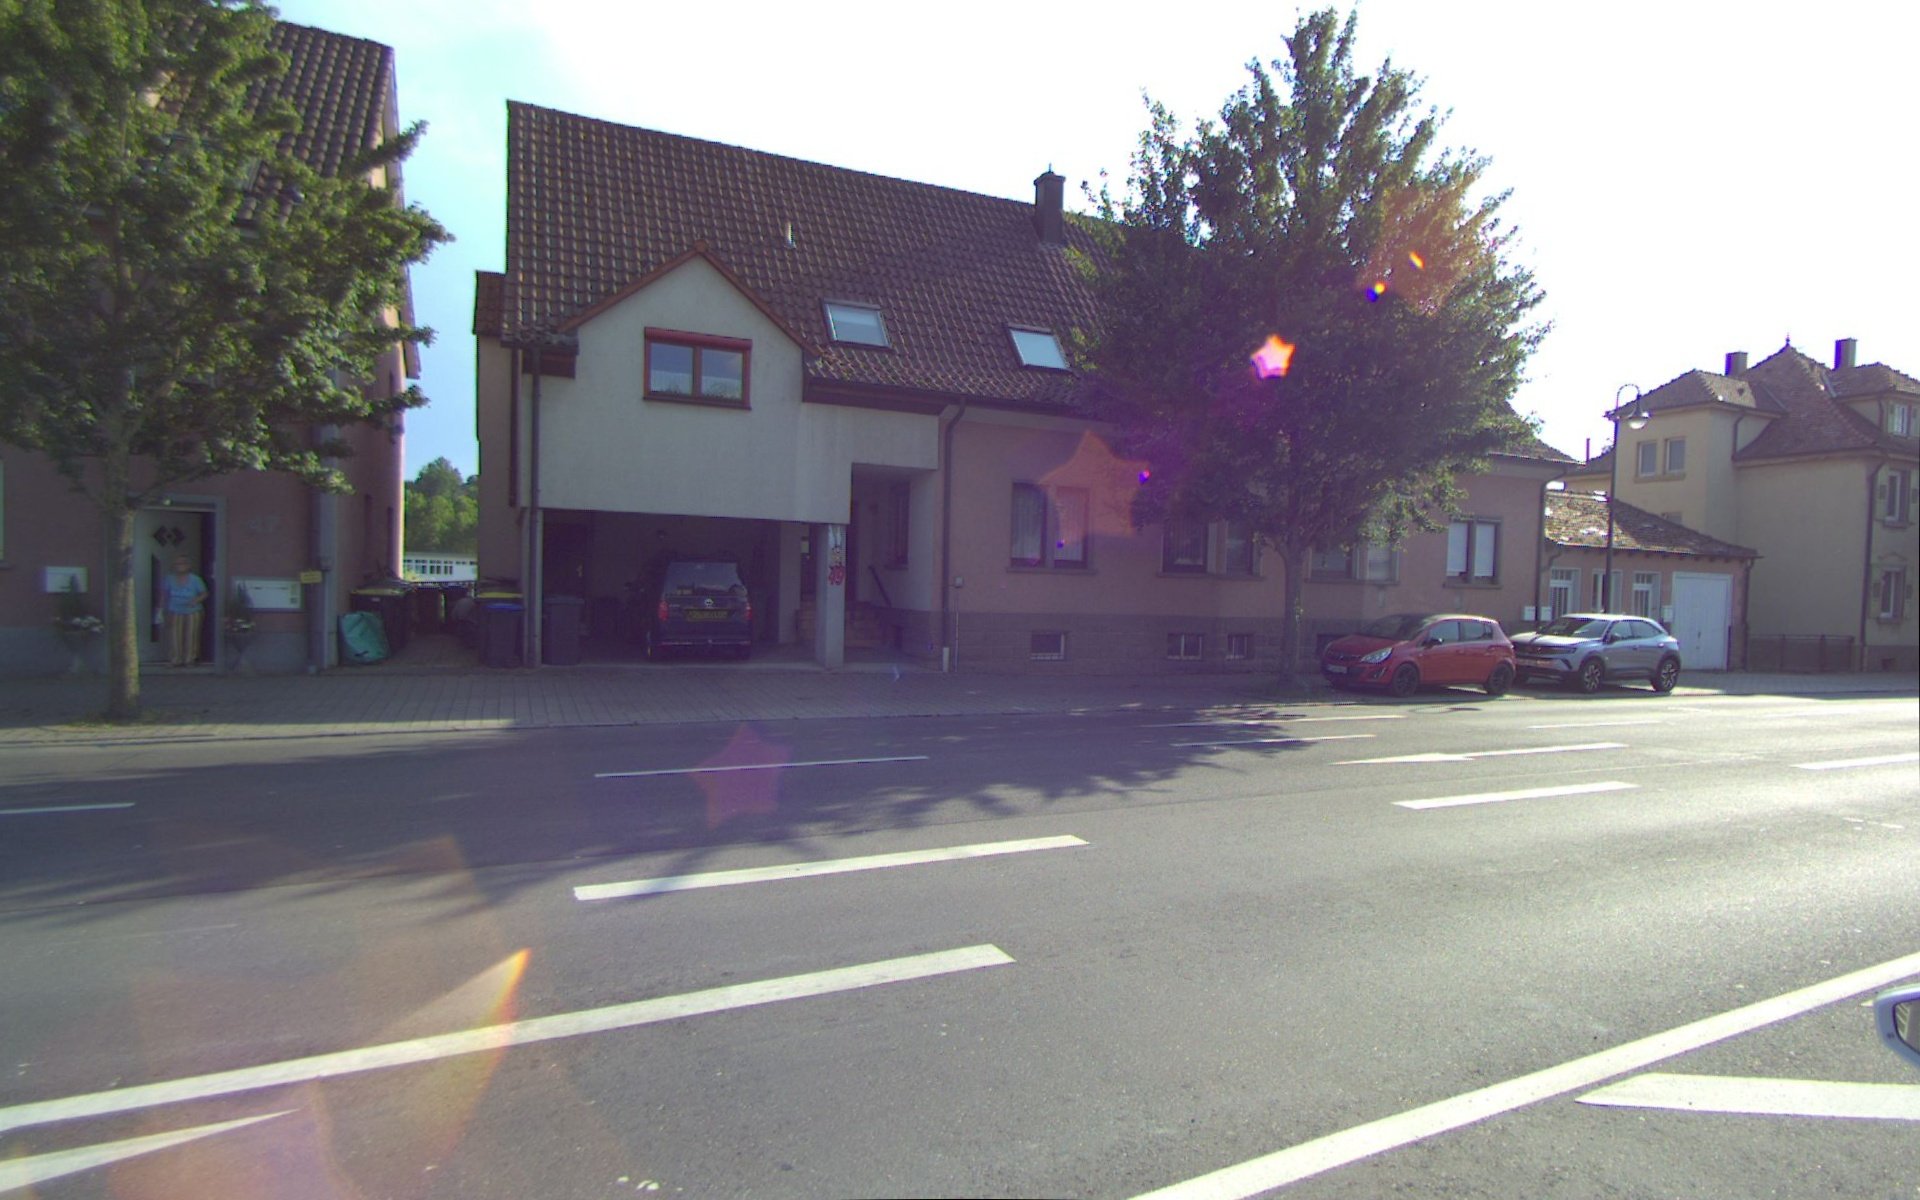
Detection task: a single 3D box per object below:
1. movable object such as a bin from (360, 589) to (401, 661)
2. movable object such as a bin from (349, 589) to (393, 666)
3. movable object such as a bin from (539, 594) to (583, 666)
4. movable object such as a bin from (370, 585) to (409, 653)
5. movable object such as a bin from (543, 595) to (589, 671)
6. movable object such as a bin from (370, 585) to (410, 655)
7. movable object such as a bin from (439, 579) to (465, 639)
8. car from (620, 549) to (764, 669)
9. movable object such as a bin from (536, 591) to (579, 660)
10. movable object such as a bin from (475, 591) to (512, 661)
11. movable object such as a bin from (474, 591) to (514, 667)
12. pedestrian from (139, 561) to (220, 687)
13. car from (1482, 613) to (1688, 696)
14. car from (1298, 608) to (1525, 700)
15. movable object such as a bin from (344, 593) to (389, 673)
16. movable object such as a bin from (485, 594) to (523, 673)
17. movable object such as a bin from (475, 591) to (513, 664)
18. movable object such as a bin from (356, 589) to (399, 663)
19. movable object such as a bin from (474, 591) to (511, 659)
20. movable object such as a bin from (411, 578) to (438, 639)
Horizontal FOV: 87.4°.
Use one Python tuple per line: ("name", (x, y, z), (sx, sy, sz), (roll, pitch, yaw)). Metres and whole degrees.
("movable object such as a bin", (-9.420, 0.397, 16.344), (0.539, 1.158, 0.502), (1, 1, -26))
("movable object such as a bin", (-8.957, 0.411, 15.291), (0.523, 1.158, 0.502), (1, 1, -26))
("movable object such as a bin", (-6.576, 0.486, 16.533), (0.570, 1.158, 0.562), (0, 1, -33))
("movable object such as a bin", (-9.887, 0.321, 17.416), (0.539, 1.158, 0.502), (1, 1, -26))
("movable object such as a bin", (-6.165, 0.507, 15.722), (0.570, 1.158, 0.562), (0, 1, -33))
("movable object such as a bin", (-9.629, 0.326, 16.969), (0.539, 1.158, 0.502), (1, 1, -26))
("movable object such as a bin", (-9.873, 0.168, 19.529), (0.439, 1.158, 0.399), (0, 1, -29))
("car", (-4.911, 0.074, 18.055), (1.756, 1.906, 3.807), (1, 2, -26))
("movable object such as a bin", (-6.878, 0.422, 17.153), (0.570, 1.158, 0.562), (0, 1, -33))
("movable object such as a bin", (-7.775, 0.425, 16.729), (0.534, 1.152, 0.508), (1, 1, -28))
("movable object such as a bin", (-7.253, 0.436, 15.618), (0.534, 1.152, 0.508), (1, 1, -28))
("pedestrian", (-10.553, 0.316, 13.584), (0.713, 1.628, 0.773), (1, 0, 45))
("car", (13.168, 1.099, 21.168), (3.945, 1.499, 1.750), (1, 3, -25))
("car", (8.570, 0.996, 19.057), (3.944, 1.507, 1.661), (1, 3, -24))
("movable object such as a bin", (-8.733, 0.473, 14.792), (0.523, 1.158, 0.549), (1, 1, -26))
("movable object such as a bin", (-6.870, 0.496, 15.137), (0.494, 1.152, 0.473), (0, 1, -28))
("movable object such as a bin", (-7.533, 0.430, 16.229), (0.534, 1.152, 0.508), (1, 1, -28))
("movable object such as a bin", (-9.187, 0.402, 15.854), (0.539, 1.158, 0.502), (1, 1, -26))
("movable object such as a bin", (-8.005, 0.420, 17.197), (0.534, 1.152, 0.508), (1, 1, -28))
("movable object such as a bin", (-10.297, 0.162, 19.324), (0.439, 1.158, 0.399), (0, 1, -29))
